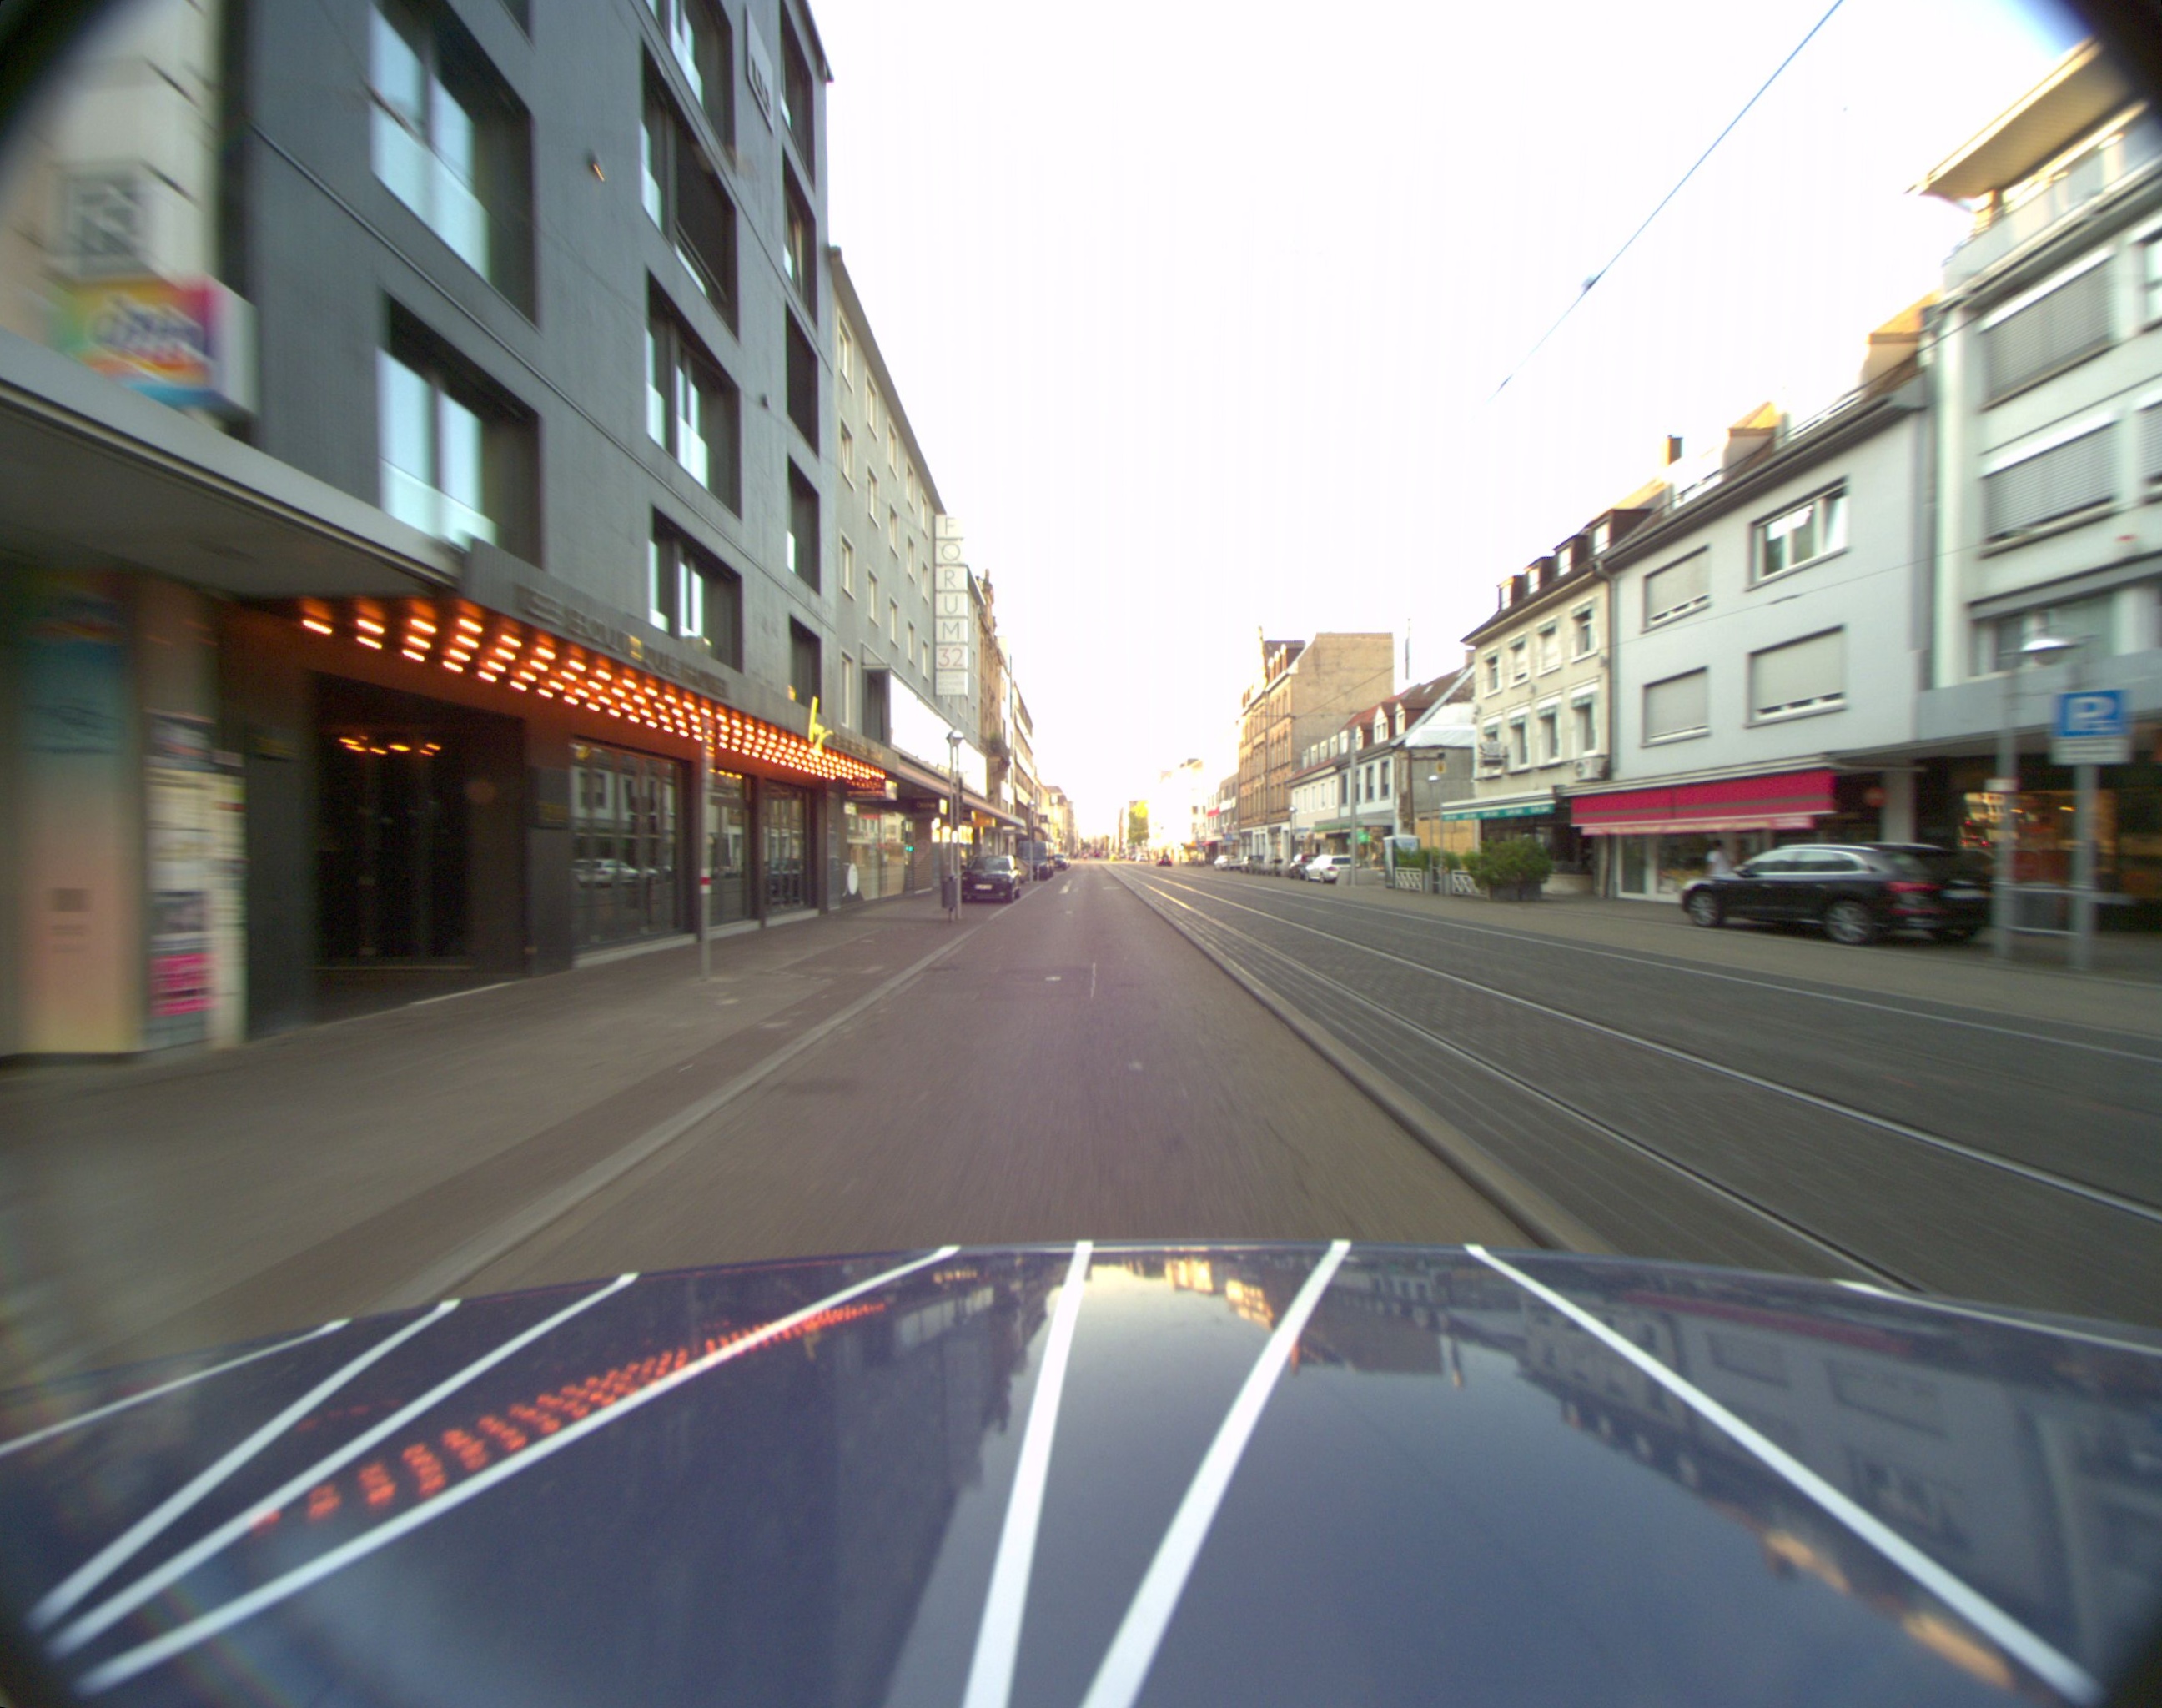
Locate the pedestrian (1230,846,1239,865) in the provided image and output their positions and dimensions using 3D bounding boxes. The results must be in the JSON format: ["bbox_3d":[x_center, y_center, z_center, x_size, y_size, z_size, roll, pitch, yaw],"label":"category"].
[{"bbox_3d":[16.425,0.148,81.405,0.748,2.002,1.049,-2,1,5],"label":"pedestrian"}]

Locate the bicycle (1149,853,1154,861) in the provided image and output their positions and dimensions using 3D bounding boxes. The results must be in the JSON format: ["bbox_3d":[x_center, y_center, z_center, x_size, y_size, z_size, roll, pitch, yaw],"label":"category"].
[{"bbox_3d":[10.845,0.437,116.310,0.493,1.183,2.265,-2,1,0],"label":"bicycle"}]

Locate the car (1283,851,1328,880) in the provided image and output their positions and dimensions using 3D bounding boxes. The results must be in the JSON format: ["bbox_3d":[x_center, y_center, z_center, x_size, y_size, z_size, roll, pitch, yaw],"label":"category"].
[{"bbox_3d":[13.429,0.674,45.651,1.660,1.562,3.470,-2,1,1],"label":"car"}]

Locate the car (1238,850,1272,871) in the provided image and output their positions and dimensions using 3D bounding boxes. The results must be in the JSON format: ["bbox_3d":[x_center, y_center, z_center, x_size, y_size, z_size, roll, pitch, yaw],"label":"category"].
[{"bbox_3d":[13.958,0.509,61.221,1.846,1.484,3.815,-2,1,1],"label":"car"}]

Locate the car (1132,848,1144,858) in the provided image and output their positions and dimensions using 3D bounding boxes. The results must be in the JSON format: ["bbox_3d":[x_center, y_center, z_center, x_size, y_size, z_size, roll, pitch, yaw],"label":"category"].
[{"bbox_3d":[11.585,-0.243,154.412,1.998,1.830,3.999,-2,2,0],"label":"car"}]

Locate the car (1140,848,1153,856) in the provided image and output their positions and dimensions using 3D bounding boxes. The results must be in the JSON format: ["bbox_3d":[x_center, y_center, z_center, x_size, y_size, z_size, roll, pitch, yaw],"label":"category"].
[{"bbox_3d":[11.968,-0.360,140.069,1.998,1.434,3.999,-2,1,0],"label":"car"}]

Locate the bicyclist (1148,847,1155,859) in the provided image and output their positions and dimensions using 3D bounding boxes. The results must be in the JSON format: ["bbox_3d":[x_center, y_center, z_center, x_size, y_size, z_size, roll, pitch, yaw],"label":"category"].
[{"bbox_3d":[10.817,-0.120,116.356,0.882,1.795,0.900,-2,1,2],"label":"bicyclist"}]

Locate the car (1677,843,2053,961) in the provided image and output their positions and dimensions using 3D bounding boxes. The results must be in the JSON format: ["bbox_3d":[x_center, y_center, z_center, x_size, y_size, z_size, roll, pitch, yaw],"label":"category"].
[{"bbox_3d":[13.430,0.682,13.561,1.998,1.687,4.588,-2,1,1],"label":"car"}]

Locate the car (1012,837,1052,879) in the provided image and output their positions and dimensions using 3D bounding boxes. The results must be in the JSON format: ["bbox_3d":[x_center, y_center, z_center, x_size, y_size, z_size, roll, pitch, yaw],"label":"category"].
[{"bbox_3d":[-3.002,0.207,47.741,2.080,2.434,5.603,-2,1,-1],"label":"car"}]

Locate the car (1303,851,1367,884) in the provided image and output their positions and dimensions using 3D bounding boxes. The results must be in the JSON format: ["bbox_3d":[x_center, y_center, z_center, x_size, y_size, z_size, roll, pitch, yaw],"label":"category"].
[{"bbox_3d":[13.534,0.682,40.727,1.896,1.547,4.622,-2,1,1],"label":"car"}]

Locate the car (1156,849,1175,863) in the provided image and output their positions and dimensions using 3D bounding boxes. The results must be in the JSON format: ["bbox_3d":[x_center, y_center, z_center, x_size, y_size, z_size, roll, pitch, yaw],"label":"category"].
[{"bbox_3d":[10.827,0.238,97.604,1.998,1.554,3.999,-2,1,0],"label":"car"}]

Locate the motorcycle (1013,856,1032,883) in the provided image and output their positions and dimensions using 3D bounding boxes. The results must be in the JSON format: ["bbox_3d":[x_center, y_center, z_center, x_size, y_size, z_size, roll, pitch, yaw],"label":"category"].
[{"bbox_3d":[-3.145,0.823,40.813,0.785,1.396,2.637,1,0,0],"label":"motorcycle"}]

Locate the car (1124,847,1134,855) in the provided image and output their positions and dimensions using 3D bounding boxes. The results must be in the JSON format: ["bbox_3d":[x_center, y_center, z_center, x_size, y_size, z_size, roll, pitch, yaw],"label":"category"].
[{"bbox_3d":[10.850,-0.675,171.589,1.998,1.685,3.999,-2,1,0],"label":"car"}]

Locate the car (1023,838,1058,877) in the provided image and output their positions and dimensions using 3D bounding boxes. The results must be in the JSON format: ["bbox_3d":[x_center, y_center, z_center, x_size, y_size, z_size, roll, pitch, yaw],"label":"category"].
[{"bbox_3d":[-2.843,0.202,54.642,1.998,2.559,5.604,-2,1,1],"label":"car"}]

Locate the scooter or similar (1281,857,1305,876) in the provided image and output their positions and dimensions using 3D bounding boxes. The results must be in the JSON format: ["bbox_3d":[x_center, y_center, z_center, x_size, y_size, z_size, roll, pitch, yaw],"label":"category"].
[{"bbox_3d":[13.569,0.805,48.652,1.365,1.161,0.311,-2,1,3],"label":"scooter or similar"}]

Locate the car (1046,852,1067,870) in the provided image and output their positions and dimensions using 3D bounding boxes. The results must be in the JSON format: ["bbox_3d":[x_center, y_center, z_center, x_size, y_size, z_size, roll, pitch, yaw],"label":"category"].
[{"bbox_3d":[-2.463,0.638,77.056,1.998,1.663,3.876,-2,1,0],"label":"car"}]

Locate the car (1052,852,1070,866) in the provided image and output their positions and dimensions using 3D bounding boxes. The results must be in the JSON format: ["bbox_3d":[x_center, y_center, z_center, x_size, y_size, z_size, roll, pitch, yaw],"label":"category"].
[{"bbox_3d":[-2.307,0.599,90.080,1.999,1.538,3.876,-2,0,-1],"label":"car"}]

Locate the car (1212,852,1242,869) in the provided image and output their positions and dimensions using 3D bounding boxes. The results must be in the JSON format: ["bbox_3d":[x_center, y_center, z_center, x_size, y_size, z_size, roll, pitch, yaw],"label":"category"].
[{"bbox_3d":[14.082,0.593,73.522,1.999,1.412,4.402,-2,1,-1],"label":"car"}]

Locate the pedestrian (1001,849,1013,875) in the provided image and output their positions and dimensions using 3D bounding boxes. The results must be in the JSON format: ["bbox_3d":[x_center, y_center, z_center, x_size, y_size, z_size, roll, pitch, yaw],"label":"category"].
[{"bbox_3d":[-5.153,0.560,52.840,0.743,1.746,0.789,2,1,-3],"label":"pedestrian"}]

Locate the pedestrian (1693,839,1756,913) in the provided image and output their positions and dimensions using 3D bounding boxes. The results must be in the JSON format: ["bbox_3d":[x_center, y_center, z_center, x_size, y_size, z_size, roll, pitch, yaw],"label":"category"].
[{"bbox_3d":[15.911,0.523,18.803,0.819,1.772,0.818,-2,1,1],"label":"pedestrian"}]

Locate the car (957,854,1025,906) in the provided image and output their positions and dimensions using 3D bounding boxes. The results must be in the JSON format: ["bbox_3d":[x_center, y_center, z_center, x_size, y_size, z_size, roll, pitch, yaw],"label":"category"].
[{"bbox_3d":[-2.936,0.801,25.528,1.744,1.532,3.965,-1,1,0],"label":"car"}]
